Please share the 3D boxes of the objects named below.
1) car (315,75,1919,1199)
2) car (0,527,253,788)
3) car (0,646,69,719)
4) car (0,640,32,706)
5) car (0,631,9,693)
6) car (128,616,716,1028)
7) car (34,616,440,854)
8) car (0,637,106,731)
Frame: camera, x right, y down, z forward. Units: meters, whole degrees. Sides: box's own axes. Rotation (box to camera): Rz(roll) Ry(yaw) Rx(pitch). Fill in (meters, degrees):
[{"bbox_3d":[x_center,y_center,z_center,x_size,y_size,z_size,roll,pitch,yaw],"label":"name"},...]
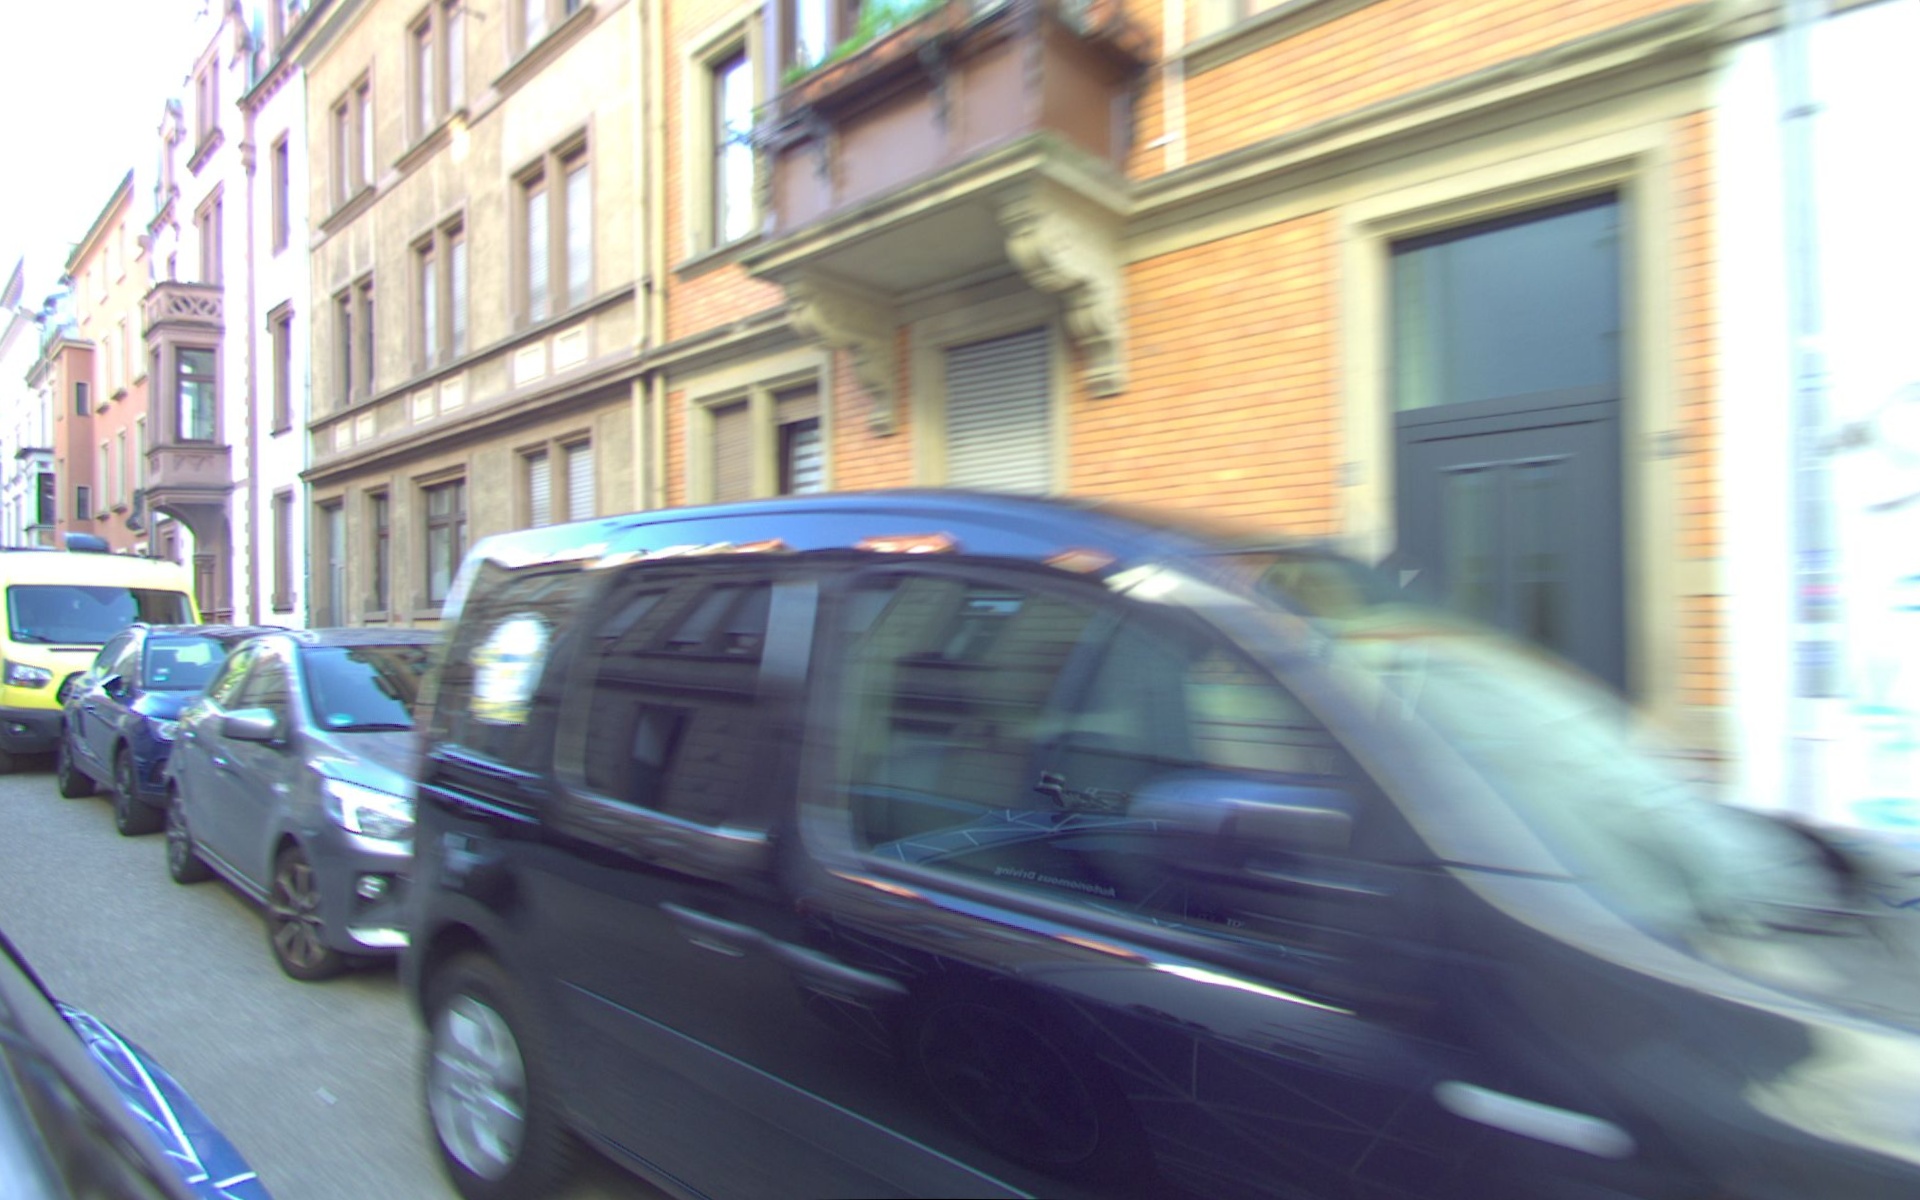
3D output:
[{"bbox_3d":[0.416,0.513,2.208,4.330,1.779,1.801,-2,-2,39],"label":"car"},{"bbox_3d":[-10.885,0.677,12.452,5.875,2.527,2.152,-2,-4,41],"label":"car"},{"bbox_3d":[-18.966,1.581,19.921,3.610,1.337,1.601,-2,-5,41],"label":"car"},{"bbox_3d":[-23.293,1.674,23.842,3.917,1.486,1.676,-2,-5,42],"label":"car"},{"bbox_3d":[-27.323,1.696,27.466,4.066,1.618,1.763,-2,-2,40],"label":"car"},{"bbox_3d":[-3.106,0.861,5.517,3.643,1.460,1.659,-2,-1,42],"label":"car"},{"bbox_3d":[-6.347,0.956,8.734,3.998,1.564,1.973,-2,-2,41],"label":"car"},{"bbox_3d":[-15.746,1.360,17.001,3.899,1.423,1.699,-2,-7,45],"label":"car"}]
